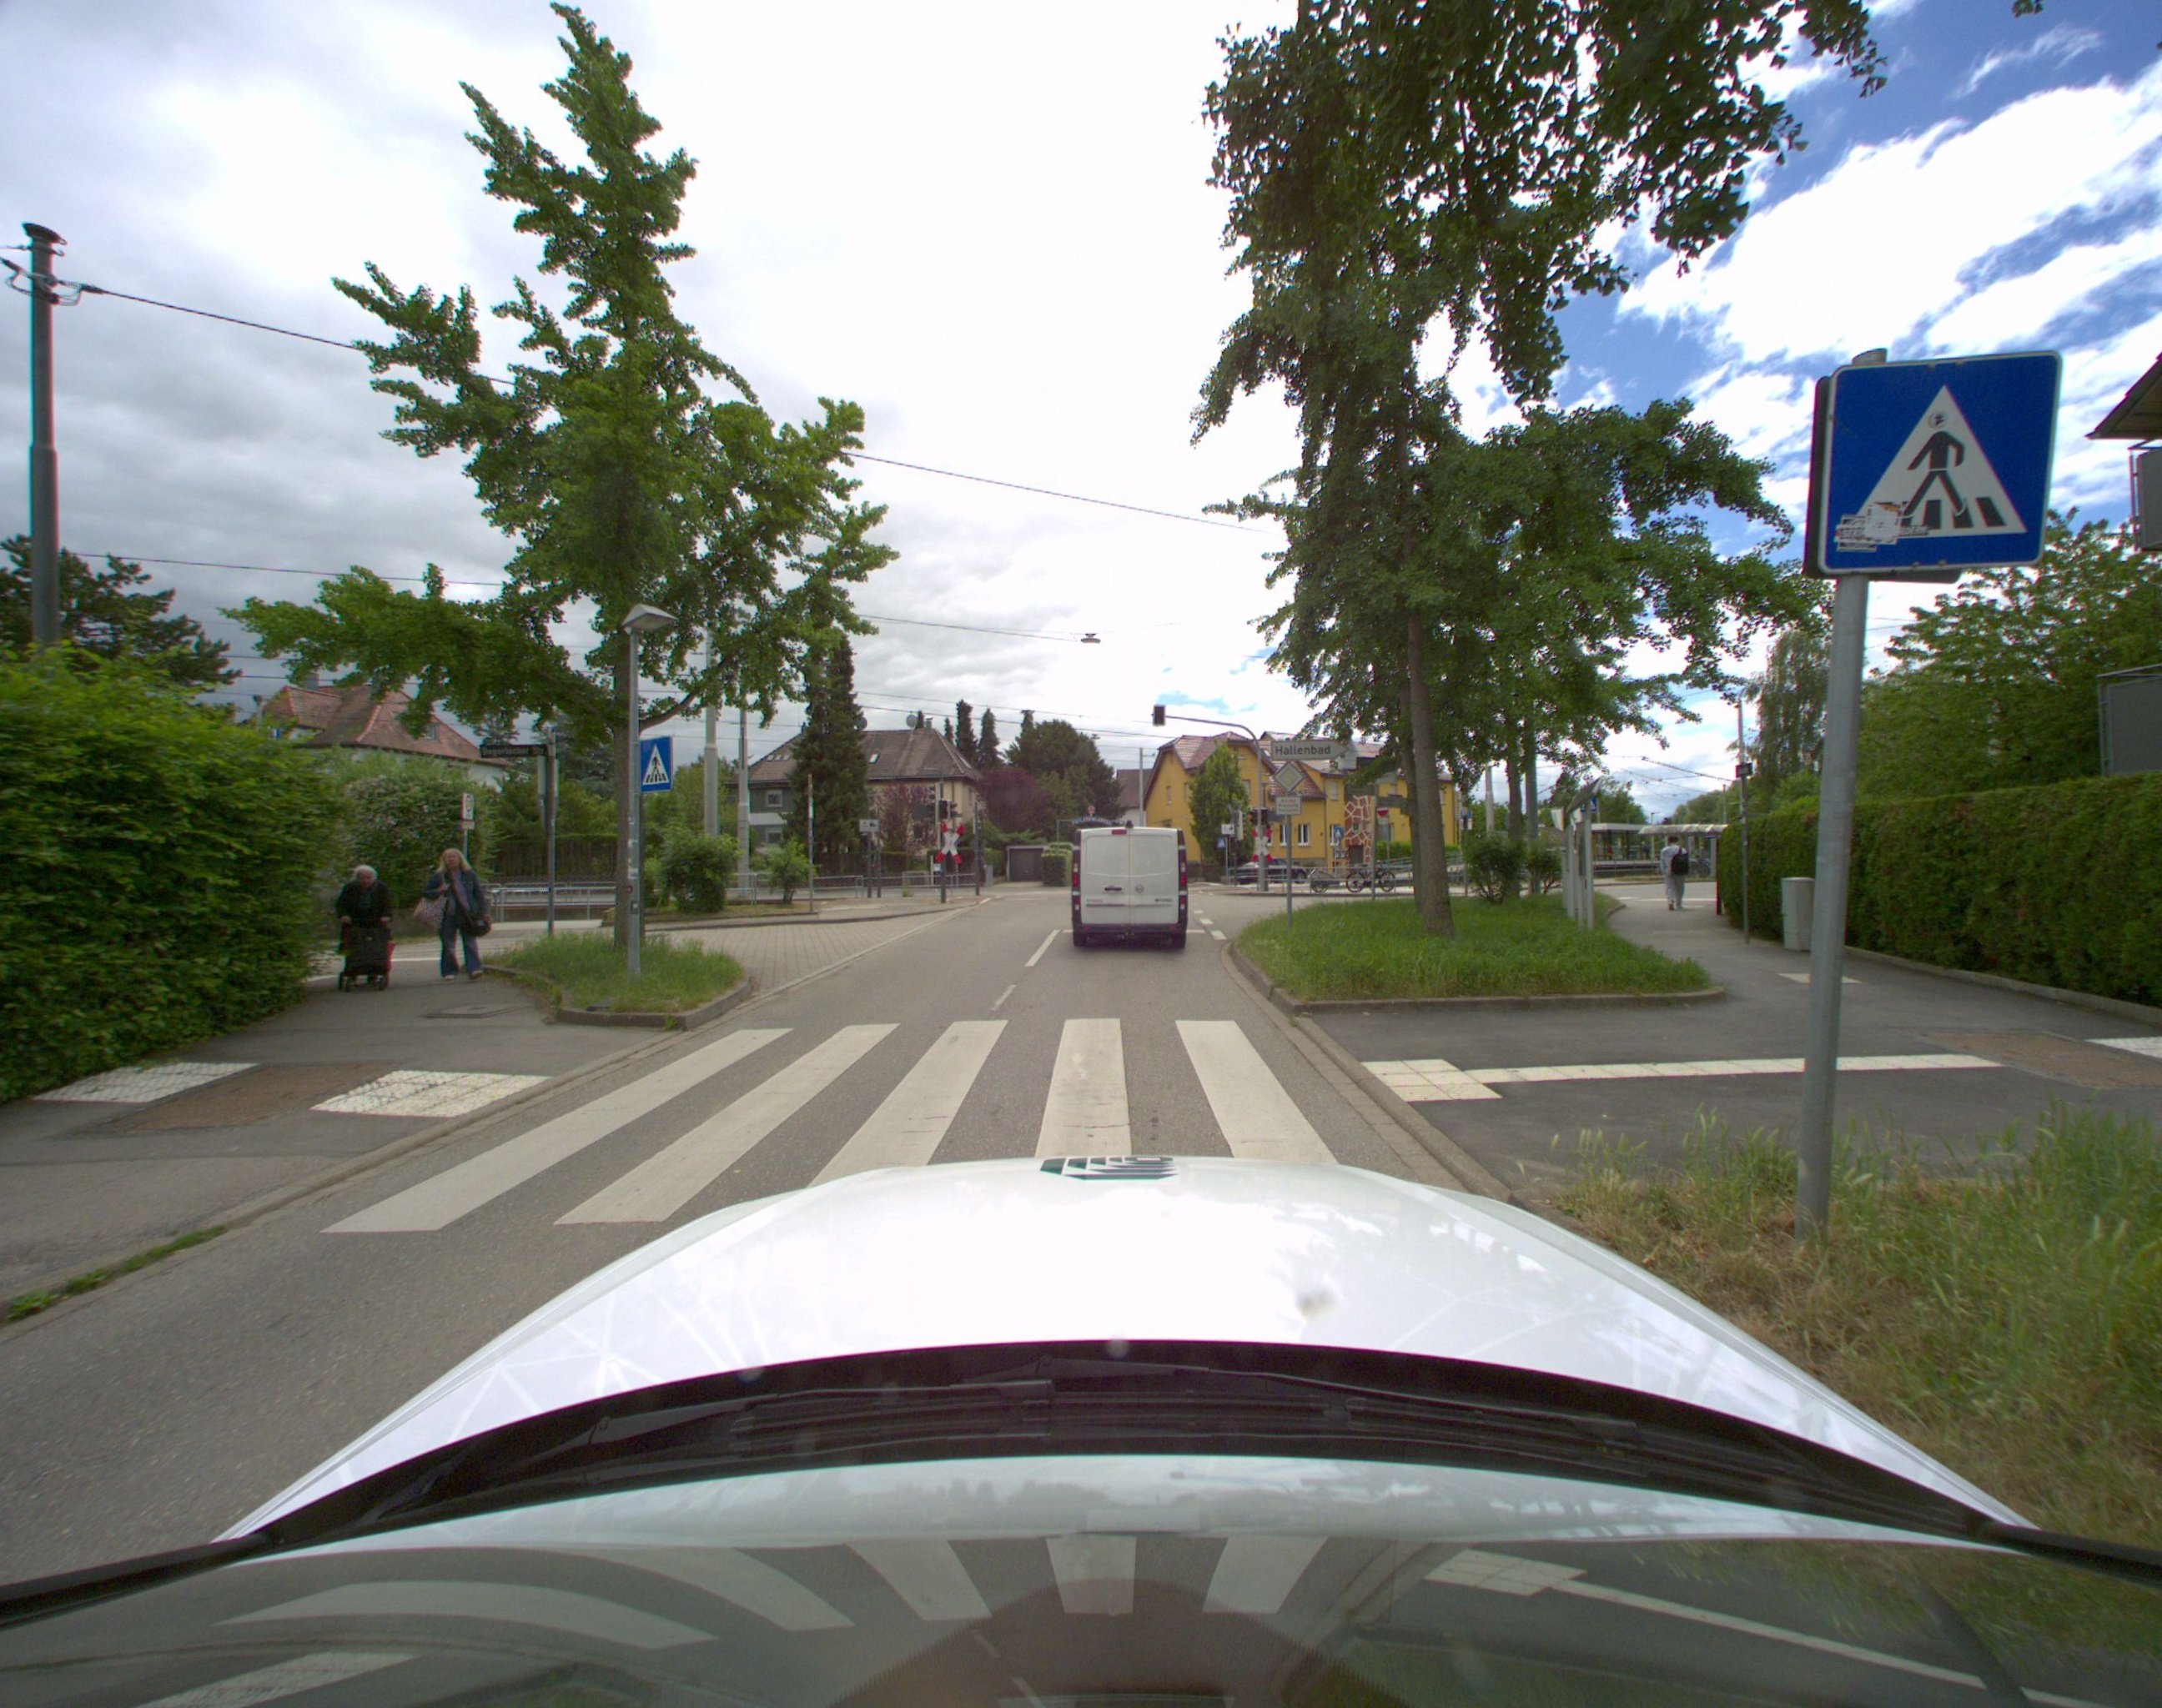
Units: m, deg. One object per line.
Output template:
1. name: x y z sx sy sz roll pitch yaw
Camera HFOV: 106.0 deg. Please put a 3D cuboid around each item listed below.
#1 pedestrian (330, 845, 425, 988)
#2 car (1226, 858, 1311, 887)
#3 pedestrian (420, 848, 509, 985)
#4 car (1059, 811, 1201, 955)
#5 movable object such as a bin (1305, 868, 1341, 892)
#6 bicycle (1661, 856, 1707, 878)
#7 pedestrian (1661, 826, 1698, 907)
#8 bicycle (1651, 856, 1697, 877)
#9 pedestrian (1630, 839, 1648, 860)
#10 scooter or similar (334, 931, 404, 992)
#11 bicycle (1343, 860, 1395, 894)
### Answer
1. pedestrian: -8.389 0.714 9.727 0.591 1.620 0.682 1 0 33
2. car: 10.791 1.050 46.759 4.387 1.564 2.339 1 0 -32
3. pedestrian: -7.688 0.750 10.168 0.591 1.620 0.682 1 0 33
4. car: 0.772 0.445 14.894 2.109 2.134 5.441 0 0 1
5. movable object such as a bin: 8.545 0.903 28.751 1.088 0.824 0.579 -1 -1 -2
6. bicycle: 29.823 0.632 40.312 0.558 1.042 1.755 0 -1 -27
7. pedestrian: 14.413 0.296 19.618 0.617 1.915 0.836 -3 -1 38
8. bicycle: 29.024 0.612 39.885 0.558 1.042 1.755 0 -1 -27
9. pedestrian: 44.110 -0.345 64.379 0.914 1.671 0.879 0 -2 -37
10. scooter or similar: -8.094 1.214 9.266 0.395 0.610 0.492 2 -1 33
11. bicycle: 10.132 0.816 28.666 1.684 1.156 0.465 -1 -1 -6
